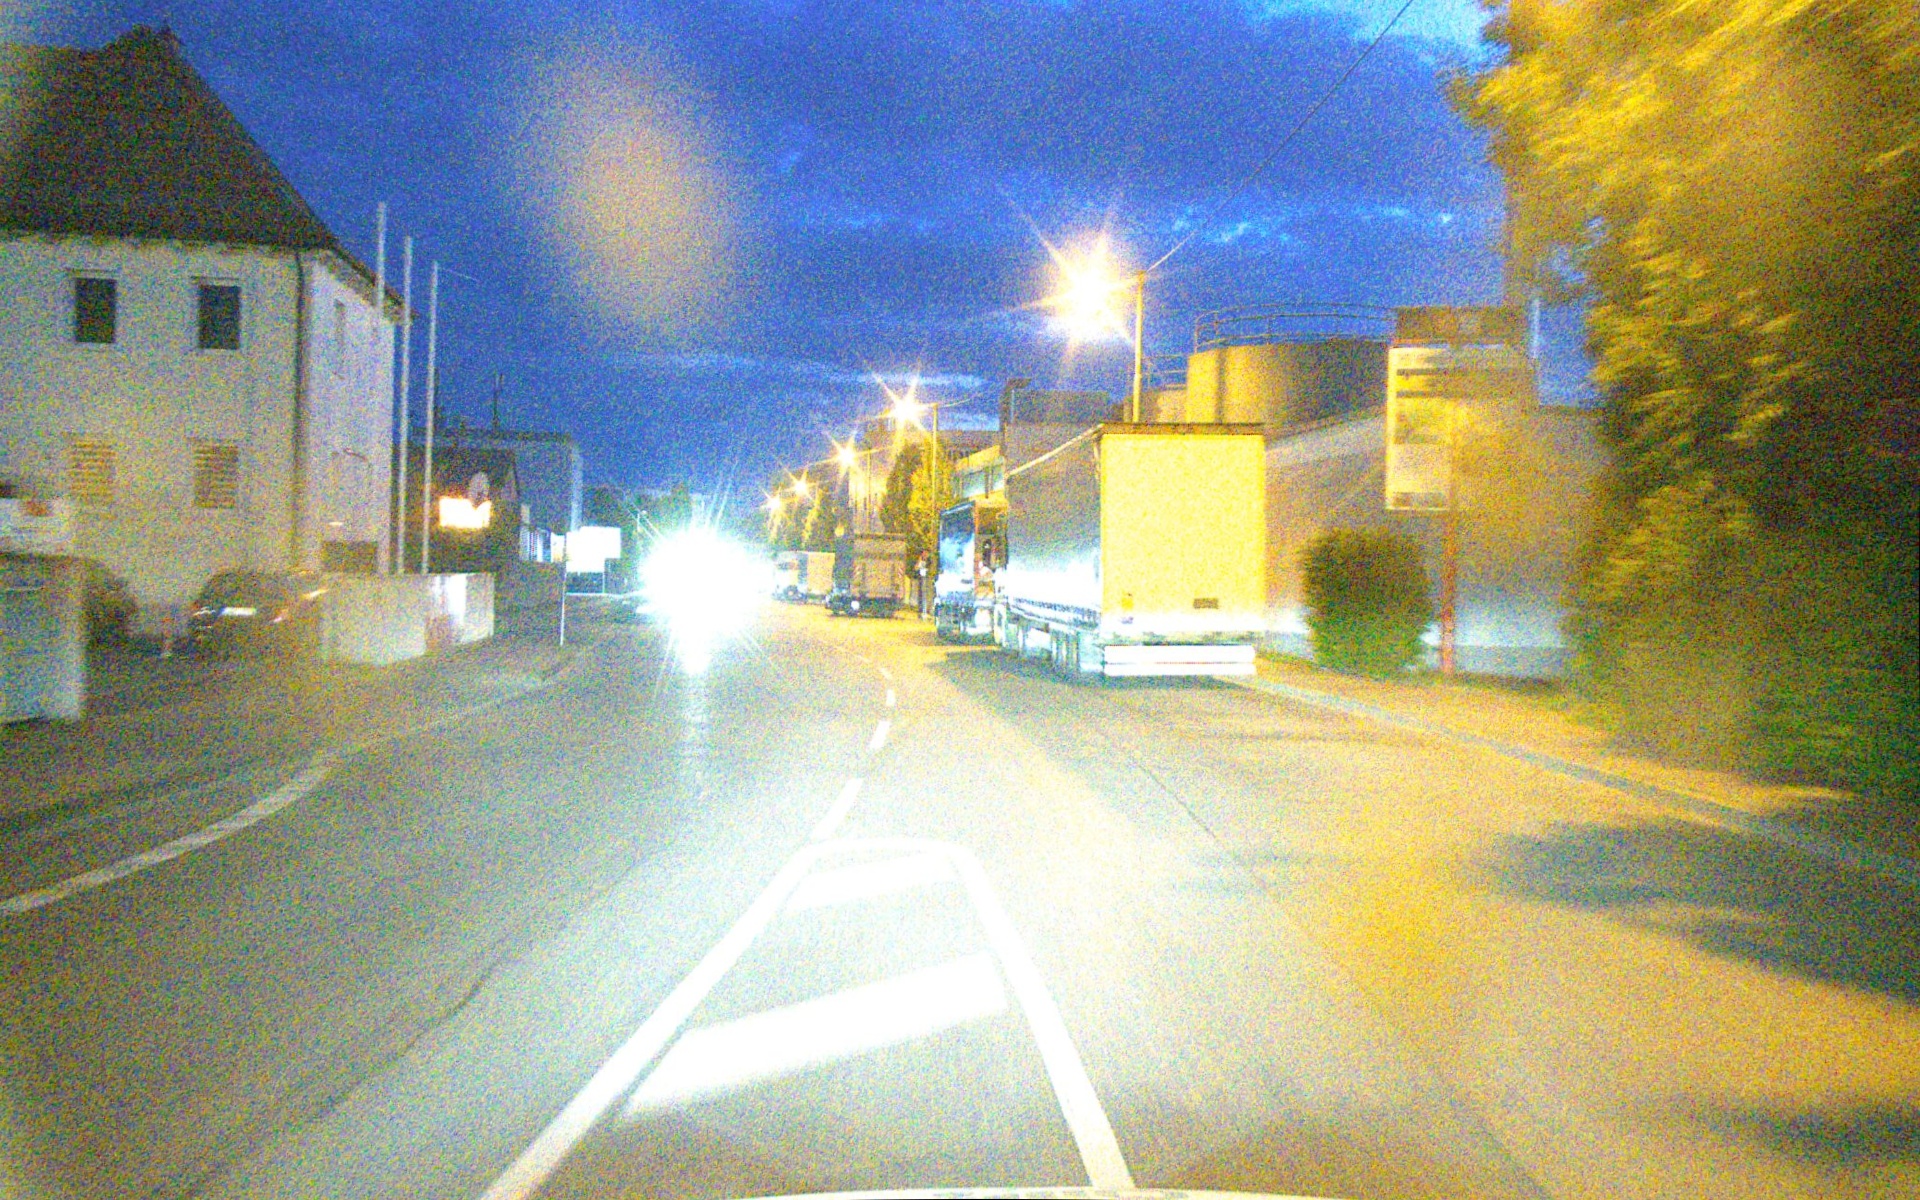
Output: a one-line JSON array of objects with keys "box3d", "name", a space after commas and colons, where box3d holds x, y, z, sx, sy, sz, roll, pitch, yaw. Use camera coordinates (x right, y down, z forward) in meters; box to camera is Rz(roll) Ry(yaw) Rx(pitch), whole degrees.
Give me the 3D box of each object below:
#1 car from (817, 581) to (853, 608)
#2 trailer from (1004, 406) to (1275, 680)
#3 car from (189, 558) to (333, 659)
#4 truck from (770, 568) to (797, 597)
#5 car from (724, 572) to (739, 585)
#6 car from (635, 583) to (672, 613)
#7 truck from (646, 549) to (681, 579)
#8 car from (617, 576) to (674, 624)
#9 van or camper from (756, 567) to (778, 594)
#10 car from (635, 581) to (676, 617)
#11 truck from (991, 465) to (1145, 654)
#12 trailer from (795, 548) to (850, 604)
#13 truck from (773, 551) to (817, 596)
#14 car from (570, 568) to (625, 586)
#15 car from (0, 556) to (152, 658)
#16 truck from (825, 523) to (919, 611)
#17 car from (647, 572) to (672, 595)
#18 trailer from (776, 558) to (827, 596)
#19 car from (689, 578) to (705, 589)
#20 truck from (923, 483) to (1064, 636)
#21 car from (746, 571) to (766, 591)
[{"box3d": [-7.334, -0.355, 97.013, 1.818, 1.545, 3.810, 0, 0, -9], "name": "car"}, {"box3d": [2.855, -0.894, 31.523, 2.753, 4.053, 13.963, 0, 0, -4], "name": "trailer"}, {"box3d": [-11.565, 0.095, 27.624, 1.800, 1.520, 4.505, 1, 1, -18], "name": "car"}, {"box3d": [-15.479, -1.541, 144.980, 1.957, 2.449, 5.281, 1, 1, -10], "name": "truck"}, {"box3d": [-32.573, -3.040, 235.670, 1.957, 1.713, 3.991, 1, 1, -10], "name": "car"}, {"box3d": [-15.968, -0.125, 86.380, 1.807, 1.445, 3.991, 1, 1, -10], "name": "car"}, {"box3d": [-38.341, -4.664, 213.542, 3.826, 3.685, 8.228, 1, 1, -15], "name": "truck"}, {"box3d": [-11.829, -0.020, 62.247, 1.958, 1.665, 4.761, 2, 0, -11], "name": "car"}, {"box3d": [-19.455, -1.938, 166.299, 1.957, 2.626, 4.905, 1, 1, -9], "name": "van or camper"}, {"box3d": [-12.472, -0.046, 67.847, 1.573, 1.377, 3.991, 1, 1, -10], "name": "car"}, {"box3d": [2.387, -0.902, 38.569, 2.774, 4.053, 6.045, 0, 0, -4], "name": "truck"}, {"box3d": [-9.194, -1.550, 109.795, 2.639, 3.525, 7.786, 2, 0, -12], "name": "trailer"}, {"box3d": [-13.331, -2.115, 133.027, 3.094, 3.524, 6.658, 0, 0, -10], "name": "truck"}, {"box3d": [-33.520, -2.107, 152.941, 4.569, 1.511, 1.978, 1, 1, -33], "name": "car"}, {"box3d": [-14.803, 0.063, 27.313, 1.798, 1.520, 4.509, 1, 1, -16], "name": "car"}, {"box3d": [-4.492, -1.559, 81.809, 3.456, 4.053, 10.317, 0, 0, -10], "name": "truck"}, {"box3d": [-25.014, -1.398, 137.869, 1.957, 1.825, 3.991, 1, 1, -10], "name": "car"}, {"box3d": [-12.151, -1.704, 126.001, 3.126, 2.797, 10.691, 0, 0, -9], "name": "trailer"}, {"box3d": [-34.702, -2.230, 218.296, 1.957, 1.422, 3.991, 1, 1, -10], "name": "car"}, {"box3d": [0.783, -1.111, 48.964, 2.776, 4.053, 10.327, 0, 0, -7], "name": "truck"}, {"box3d": [-22.979, -2.160, 186.344, 1.957, 2.183, 3.991, 1, 1, -10], "name": "car"}]
